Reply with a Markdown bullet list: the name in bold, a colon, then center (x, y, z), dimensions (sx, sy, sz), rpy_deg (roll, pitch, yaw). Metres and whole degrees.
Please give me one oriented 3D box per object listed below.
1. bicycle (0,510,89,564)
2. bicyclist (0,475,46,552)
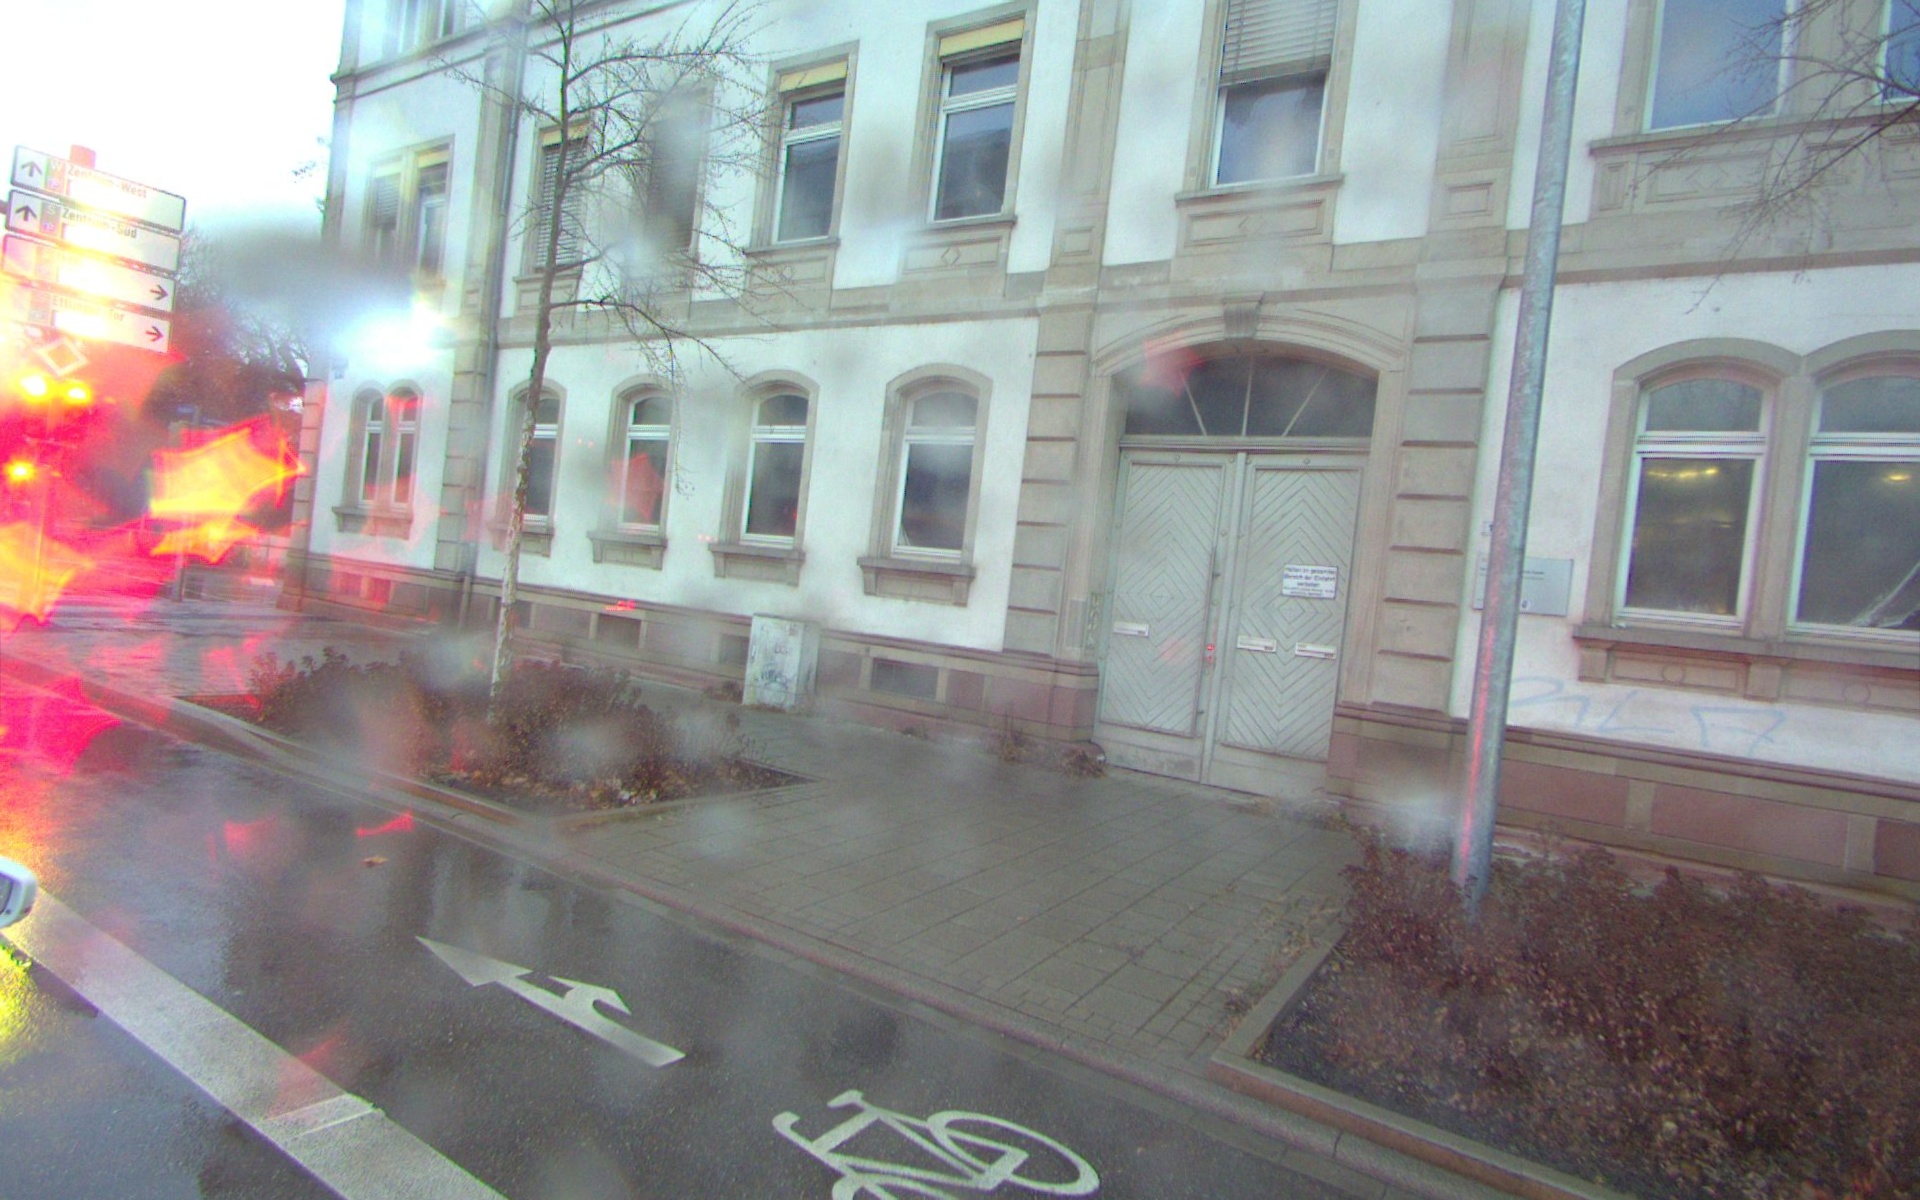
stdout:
- **bicycle**: center (-23.919, -1.660, 25.503), dimensions (0.805, 1.101, 2.662), rpy_deg (5, -3, 45)
- **bicyclist**: center (-23.916, -2.190, 25.462), dimensions (0.970, 1.778, 0.803), rpy_deg (9, -2, -45)
